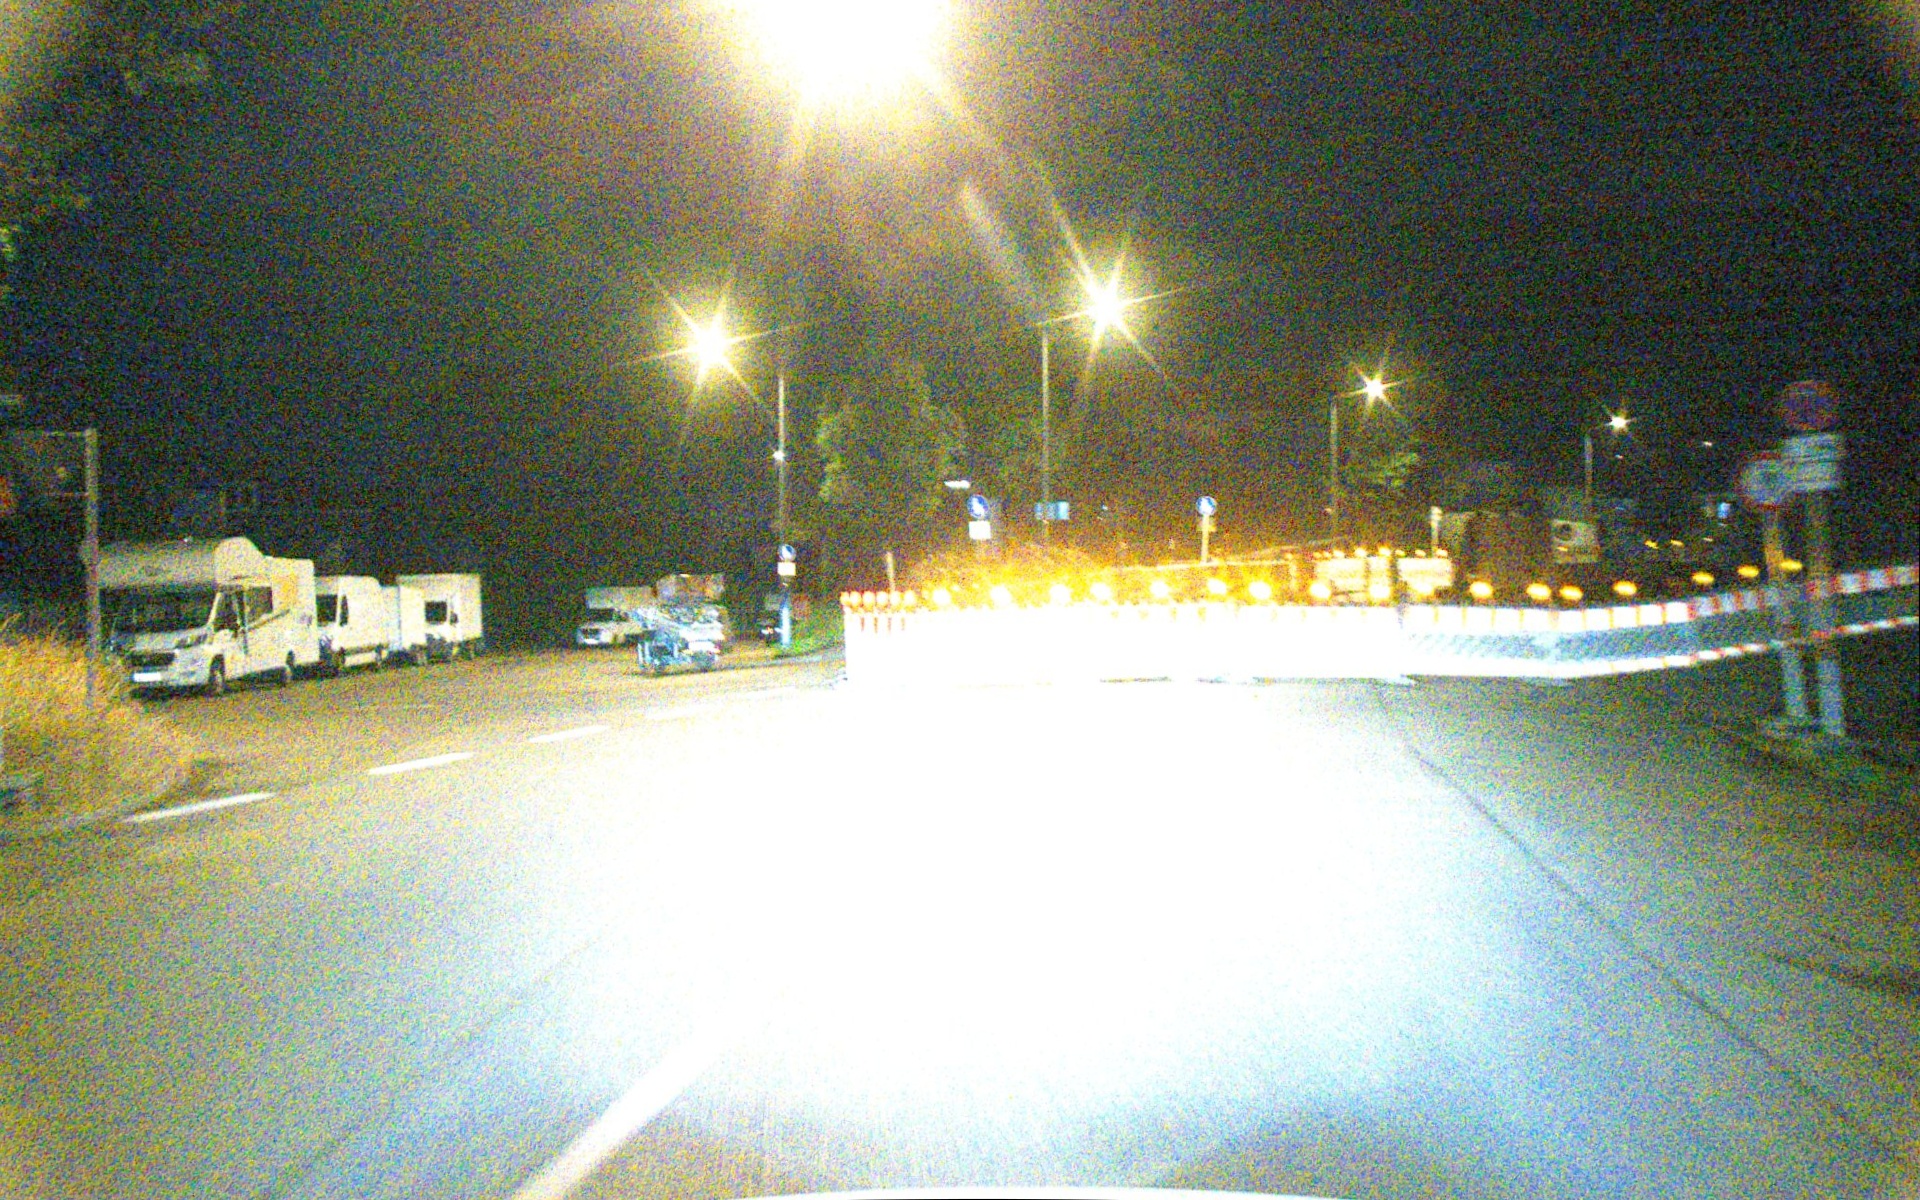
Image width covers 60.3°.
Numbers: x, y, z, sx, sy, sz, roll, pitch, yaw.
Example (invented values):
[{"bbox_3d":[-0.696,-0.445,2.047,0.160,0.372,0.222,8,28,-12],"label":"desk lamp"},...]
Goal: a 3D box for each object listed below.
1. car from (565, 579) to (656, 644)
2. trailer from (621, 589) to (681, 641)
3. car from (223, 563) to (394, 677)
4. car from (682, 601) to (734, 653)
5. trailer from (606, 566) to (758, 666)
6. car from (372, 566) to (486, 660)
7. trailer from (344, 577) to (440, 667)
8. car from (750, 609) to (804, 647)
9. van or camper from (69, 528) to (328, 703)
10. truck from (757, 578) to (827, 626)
[{"bbox_3d":[-18.535,0.538,88.215,2.465,3.226,7.143,-2,0,7],"label":"car"},{"bbox_3d":[-17.634,0.810,94.631,1.951,2.862,4.707,-1,1,8],"label":"trailer"},{"bbox_3d":[-16.950,0.487,43.538,2.472,2.651,7.078,-2,0,-8],"label":"car"},{"bbox_3d":[-9.321,0.999,61.409,1.687,1.853,3.994,0,-1,-6],"label":"car"},{"bbox_3d":[-6.704,0.412,39.351,1.545,2.198,5.160,-2,0,-34],"label":"trailer"},{"bbox_3d":[-18.381,0.431,57.672,2.472,2.978,7.188,-2,0,-8],"label":"car"},{"bbox_3d":[-17.358,0.647,50.706,1.956,2.571,3.563,-2,0,-7],"label":"trailer"},{"bbox_3d":[-9.083,1.385,82.455,1.684,1.853,4.003,0,-1,9],"label":"car"},{"bbox_3d":[-15.640,0.289,34.617,2.470,3.148,7.436,-2,0,-5],"label":"van or camper"},{"bbox_3d":[-12.518,0.117,124.276,1.951,3.463,8.985,0,1,17],"label":"truck"}]
